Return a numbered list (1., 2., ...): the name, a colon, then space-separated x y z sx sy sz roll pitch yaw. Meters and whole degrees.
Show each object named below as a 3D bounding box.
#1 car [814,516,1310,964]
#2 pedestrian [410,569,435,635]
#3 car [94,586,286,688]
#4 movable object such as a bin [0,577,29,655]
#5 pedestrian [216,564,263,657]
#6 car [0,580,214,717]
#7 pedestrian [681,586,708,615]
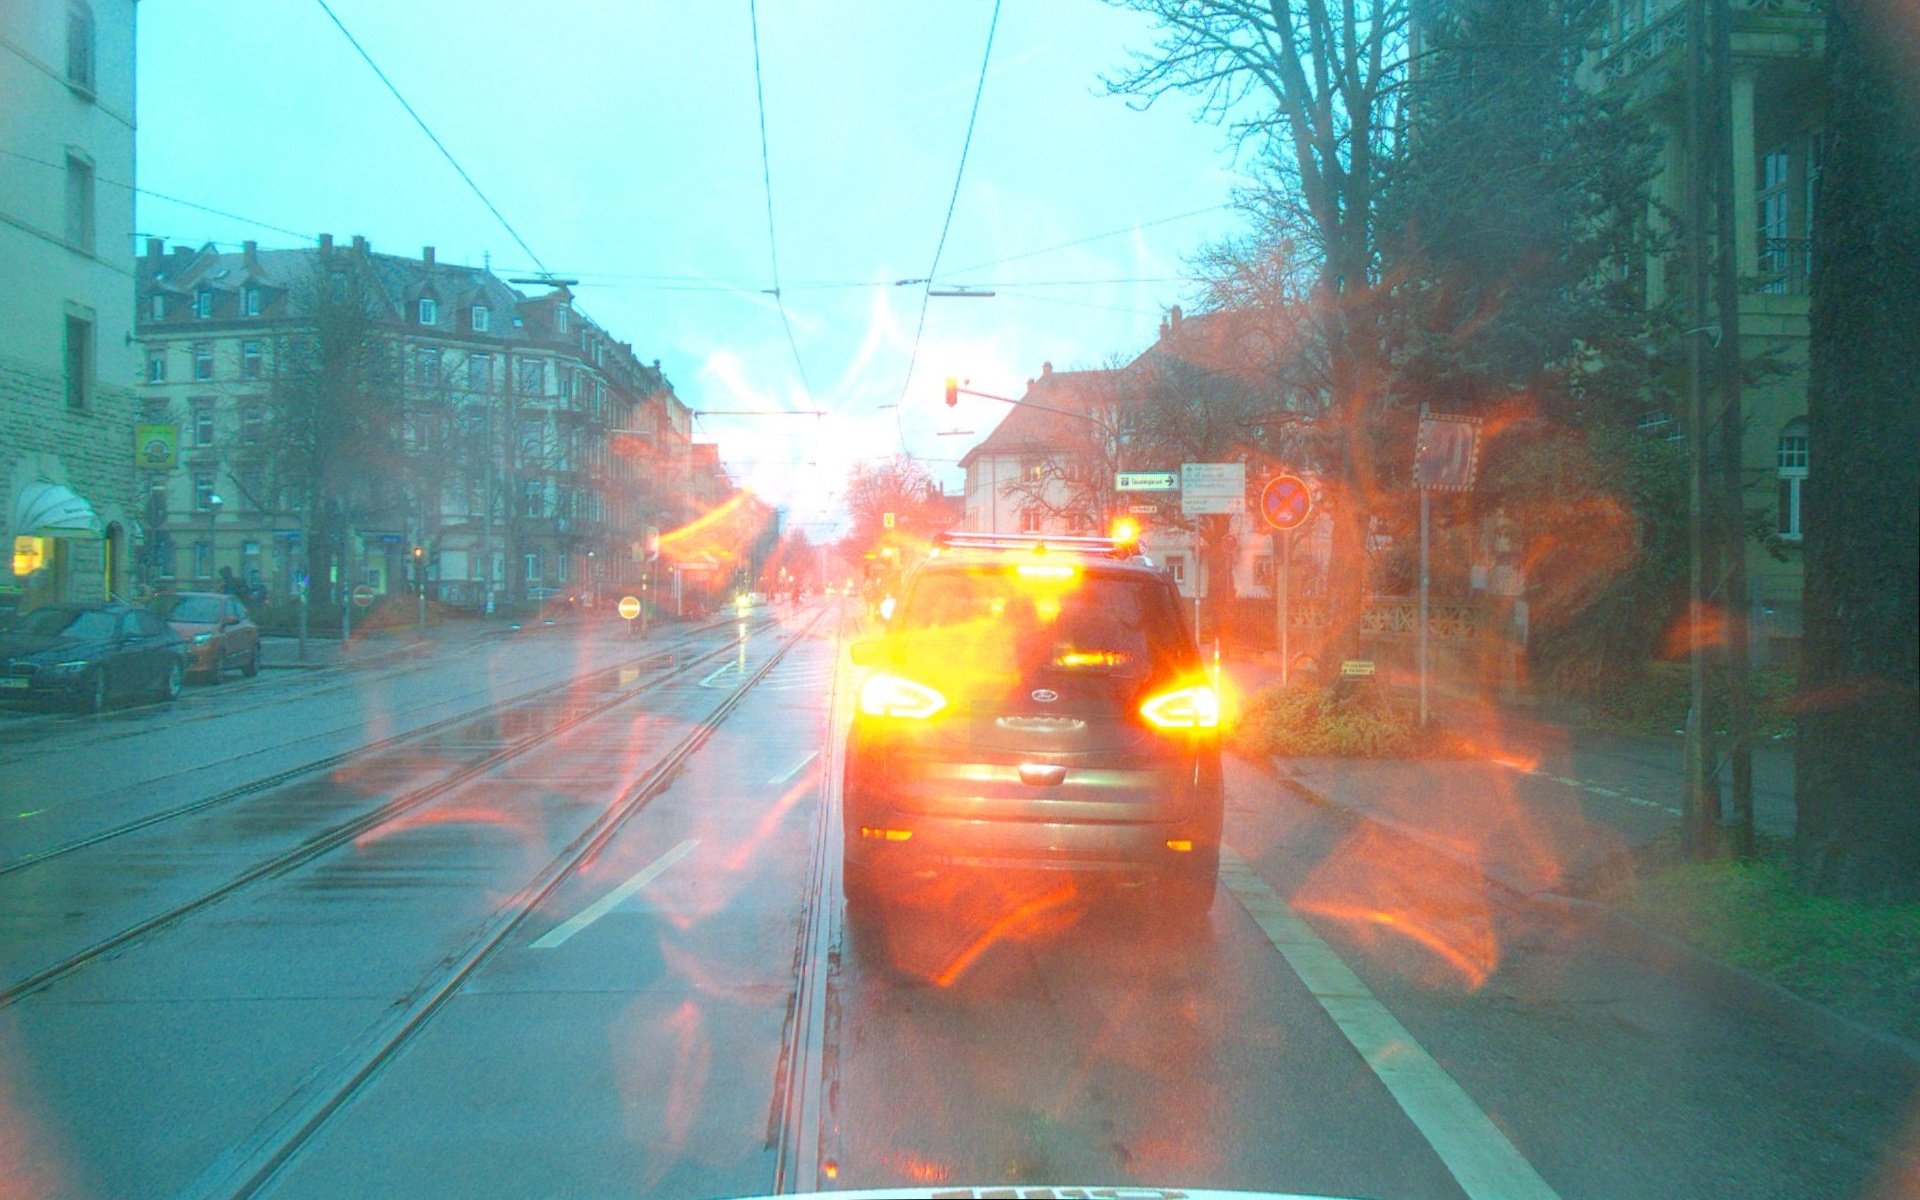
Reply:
1. car: 0.381 0.584 9.373 2.061 1.848 4.659 2 0 -2
2. pedestrian: -16.893 0.064 51.994 0.695 2.049 0.656 0 0 -23
3. car: -13.858 0.618 30.027 2.000 1.578 4.024 4 0 -9
4. movable object such as a bin: -17.768 0.276 29.840 1.268 1.391 1.251 0 0 -4
5. pedestrian: -16.143 0.228 37.063 0.742 2.049 0.646 0 -1 32
6. car: -12.791 0.641 24.173 1.948 1.674 4.625 5 -1 -6
7. pedestrian: -11.248 0.022 70.137 1.026 1.221 0.884 1 0 -3
